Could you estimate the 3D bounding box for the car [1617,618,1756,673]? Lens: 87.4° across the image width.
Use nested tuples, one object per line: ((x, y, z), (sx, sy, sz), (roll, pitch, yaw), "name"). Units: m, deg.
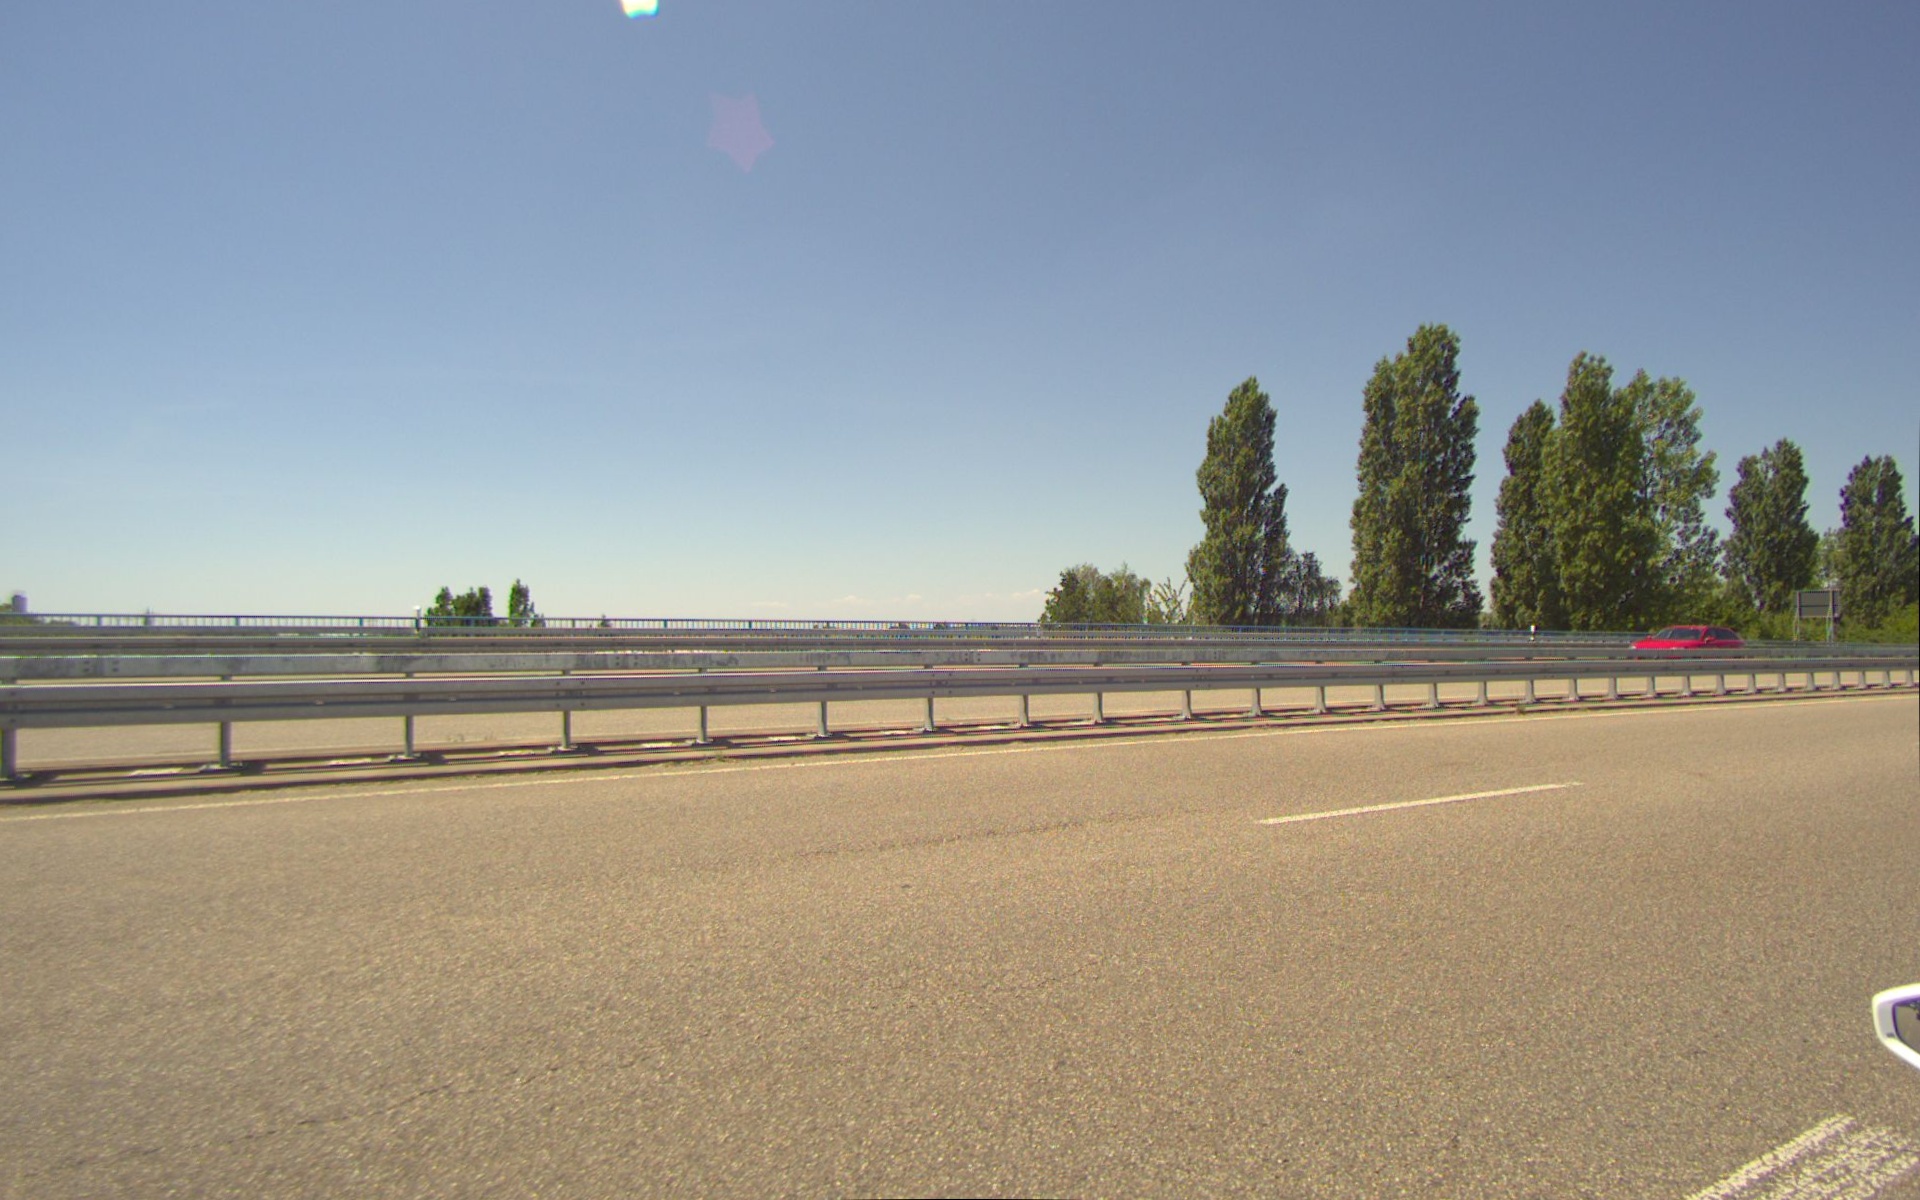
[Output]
((23.820, 1.484, 32.891), (4.991, 1.689, 1.835), (2, -1, -30), "car")
